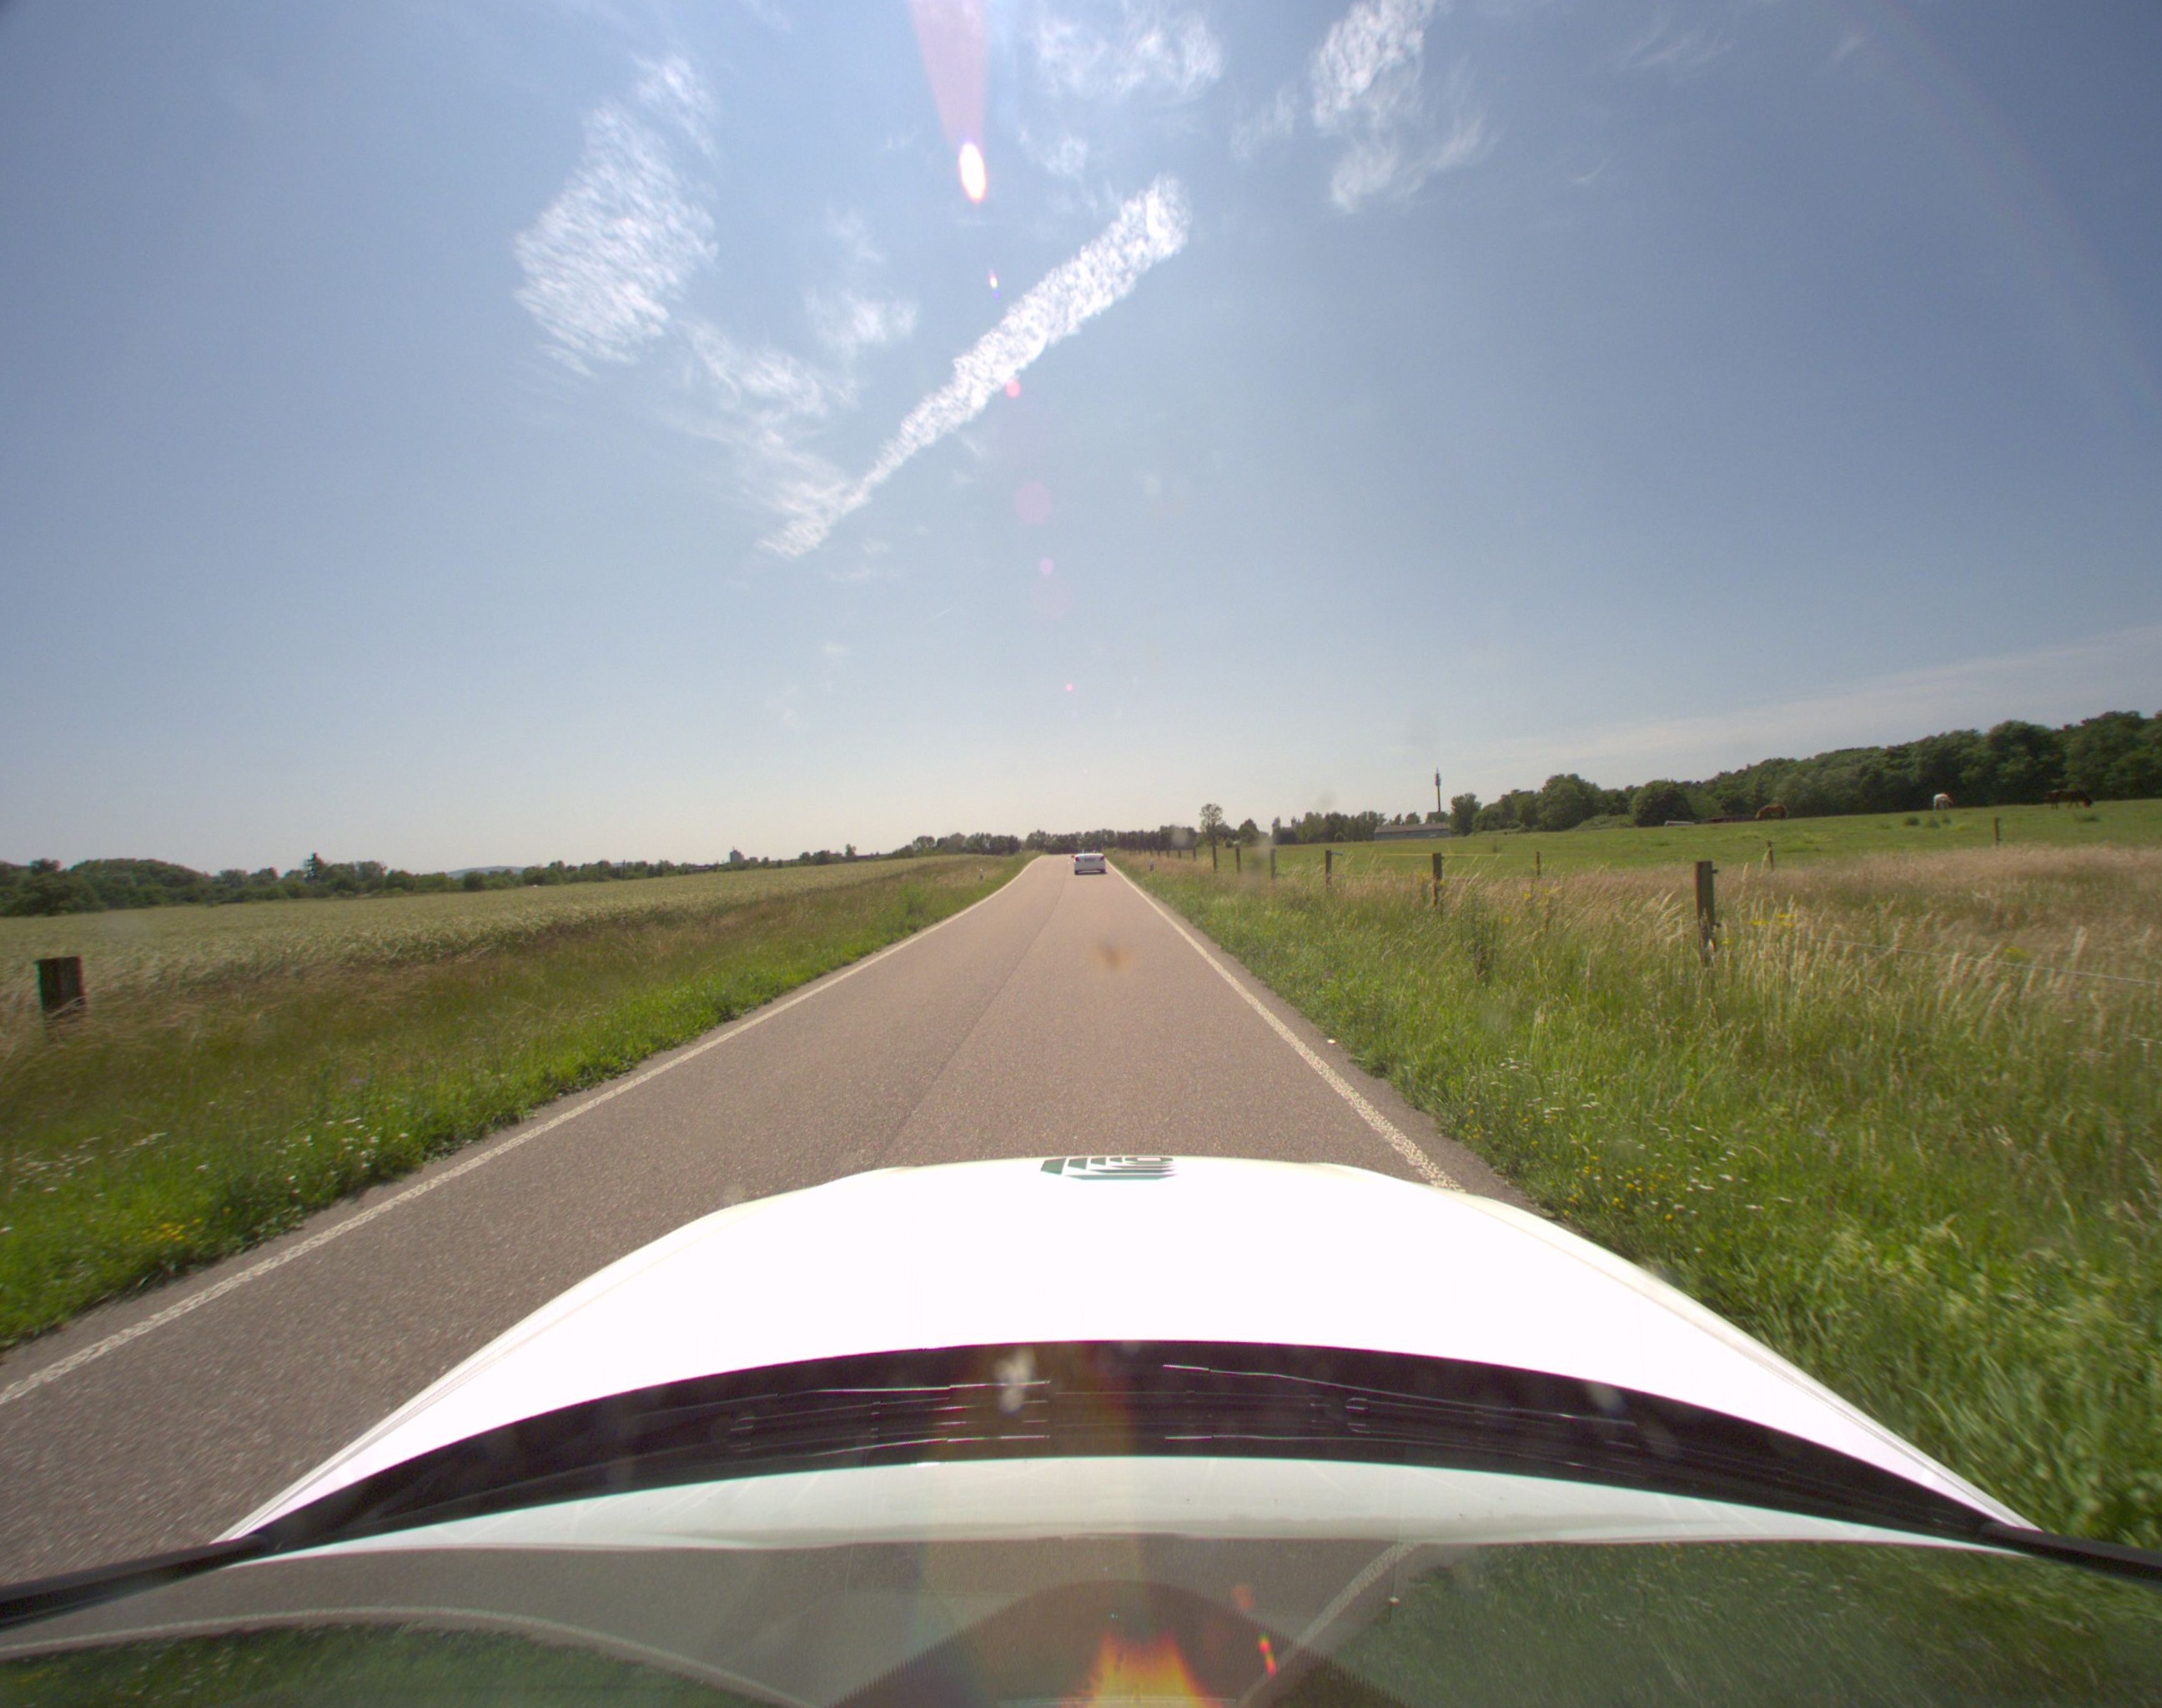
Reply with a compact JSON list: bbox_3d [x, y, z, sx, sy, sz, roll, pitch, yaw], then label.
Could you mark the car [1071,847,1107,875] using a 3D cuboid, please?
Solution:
[{"bbox_3d":[0.399,0.343,45.133,1.845,1.379,3.999,-1,1,-1],"label":"car"}]
